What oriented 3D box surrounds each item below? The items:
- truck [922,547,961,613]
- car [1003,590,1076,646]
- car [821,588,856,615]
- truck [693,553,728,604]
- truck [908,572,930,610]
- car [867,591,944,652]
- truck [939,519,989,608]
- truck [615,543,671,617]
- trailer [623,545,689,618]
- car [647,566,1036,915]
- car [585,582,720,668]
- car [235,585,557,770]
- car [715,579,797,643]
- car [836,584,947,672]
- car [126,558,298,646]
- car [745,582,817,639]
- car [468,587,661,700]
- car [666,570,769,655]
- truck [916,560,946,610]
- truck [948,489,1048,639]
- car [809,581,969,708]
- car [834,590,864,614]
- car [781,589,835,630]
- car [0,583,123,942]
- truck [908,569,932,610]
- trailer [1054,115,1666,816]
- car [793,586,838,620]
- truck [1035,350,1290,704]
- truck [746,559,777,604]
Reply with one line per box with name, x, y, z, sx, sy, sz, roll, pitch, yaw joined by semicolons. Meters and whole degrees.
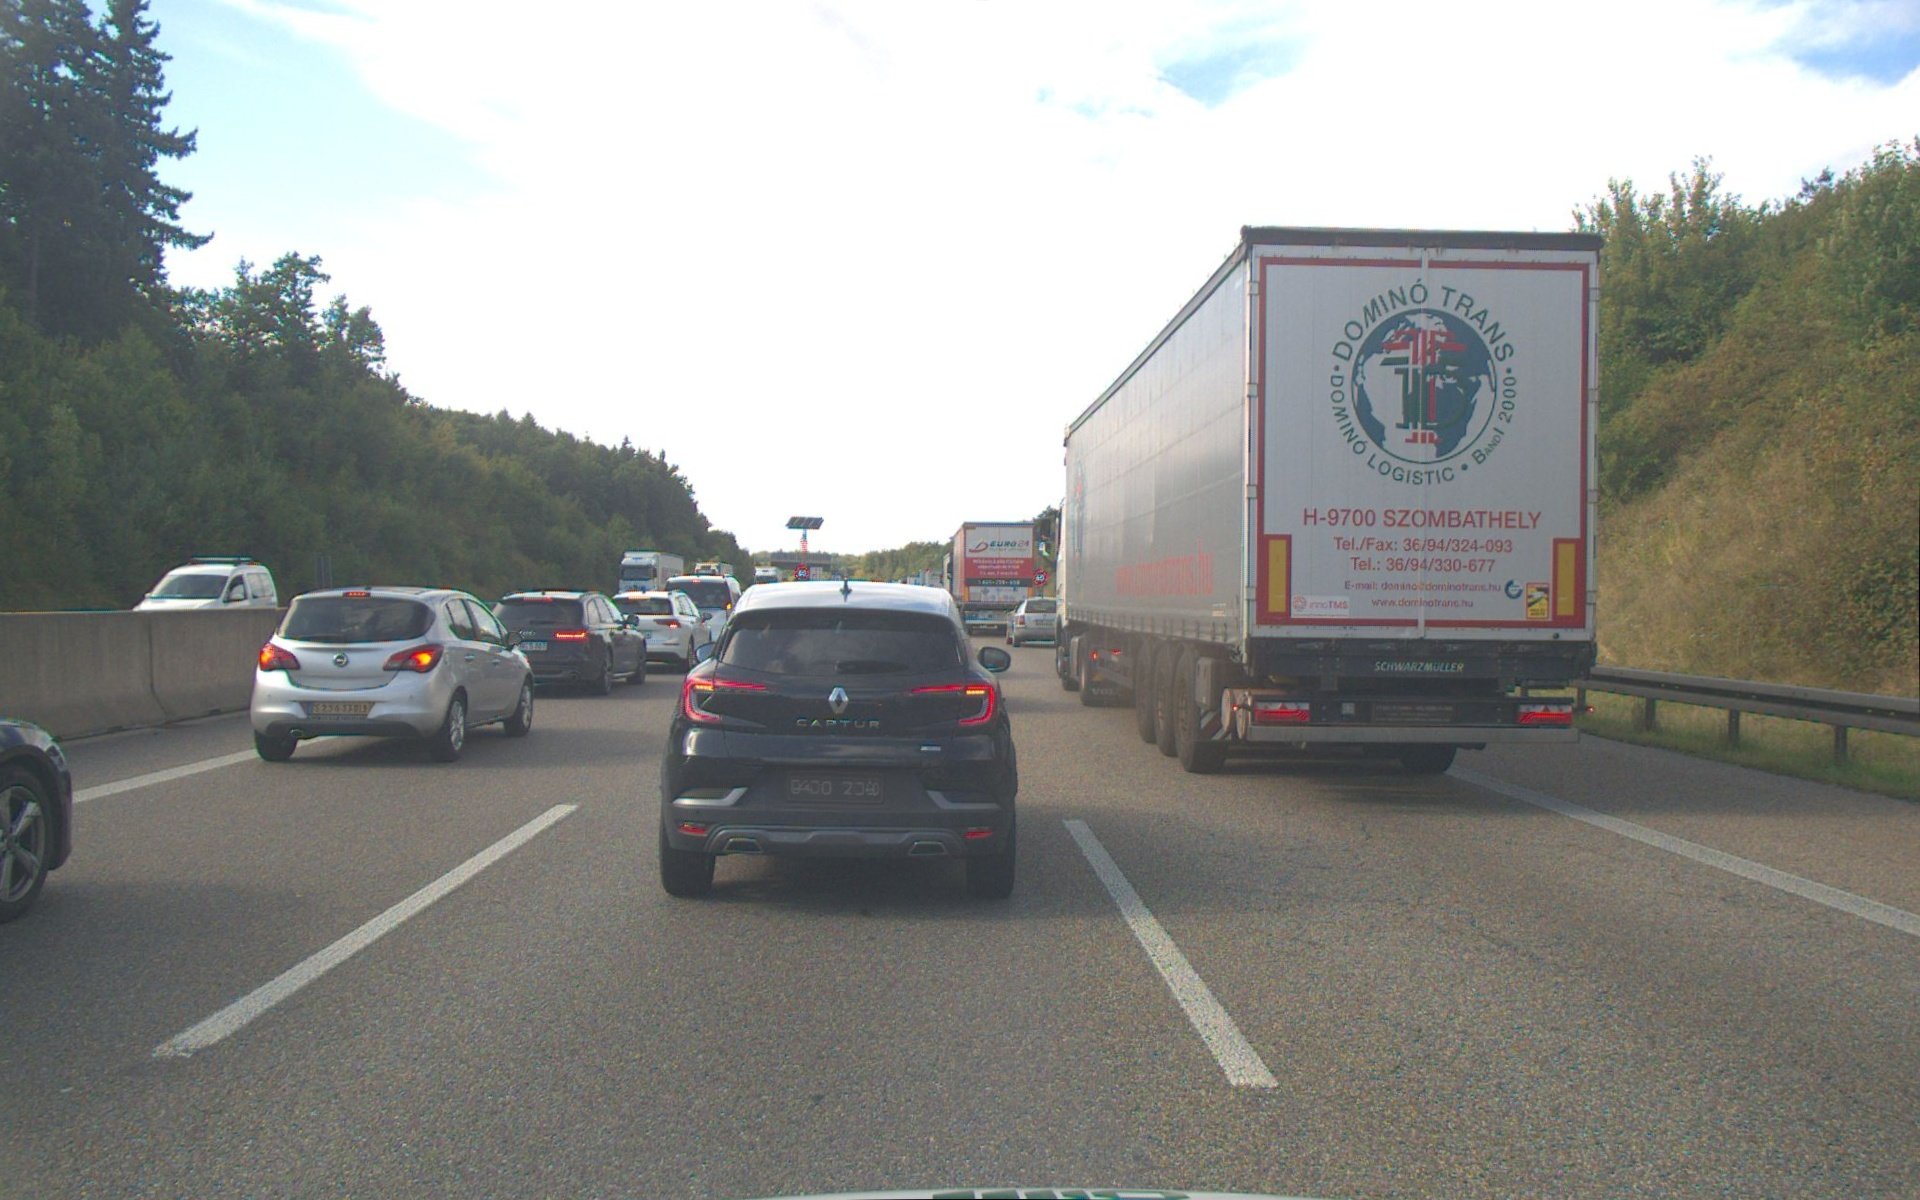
truck;-1.586;-1.707;148.856;3.101;5.601;12.737;1;0;0
car;2.324;0.520;49.137;1.768;1.559;3.923;1;0;-3
car;-7.682;0.099;104.772;1.953;1.641;3.999;1;0;-1
truck;-24.917;-2.134;165.452;2.873;4.943;4.763;1;0;-2
truck;-6.229;-1.323;251.062;3.102;5.601;12.734;1;0;-1
car;-1.456;0.572;44.914;1.953;1.540;3.999;1;0;-1
truck;0.174;-2.321;111.498;3.102;5.601;12.734;1;0;-1
truck;-23.485;-1.424;122.865;2.978;5.344;6.880;1;0;-2
trailer;-23.716;-1.361;129.930;2.981;5.373;13.829;1;0;-2
car;-0.518;0.640;9.553;1.767;1.579;4.000;1;0;1
car;-5.709;0.450;31.208;1.768;1.486;4.308;1;0;-1
car;-5.052;0.608;15.393;1.711;1.491;4.039;0;0;-2
car;-5.662;0.307;46.198;1.818;1.669;3.925;1;0;-1
car;-1.261;0.515;31.599;1.953;1.540;3.999;1;0;-1
car;-15.973;0.022;35.563;1.815;1.742;4.322;1;0;-2
car;-5.790;0.341;53.944;1.953;1.752;3.999;1;0;-1
car;-5.728;0.565;24.545;1.805;1.481;4.746;1;0;-1
car;-5.547;0.289;38.316;1.873;1.821;4.415;1;0;-3
truck;-3.182;-1.579;183.173;3.102;5.249;12.734;1;0;-1
truck;1.283;-1.226;64.006;3.296;5.132;12.734;1;0;-1
car;-0.922;0.562;22.494;1.953;1.540;3.999;1;0;-1
car;-7.946;0.147;118.440;1.953;1.641;3.999;1;0;-1
car;-6.385;0.402;69.762;1.953;1.641;3.999;1;0;-1
car;-4.923;0.675;5.490;1.844;1.497;4.851;1;0;-1
truck;-5.586;-1.397;232.551;3.102;5.601;12.734;1;0;-1
trailer;3.131;-0.945;17.964;2.942;4.742;13.284;1;0;-2
car;-7.121;0.124;81.878;1.953;1.641;3.999;1;0;-1
truck;2.882;-0.995;25.370;2.937;4.749;5.937;1;0;-2
truck;-23.456;-2.165;195.857;3.026;5.190;7.138;1;0;-2
